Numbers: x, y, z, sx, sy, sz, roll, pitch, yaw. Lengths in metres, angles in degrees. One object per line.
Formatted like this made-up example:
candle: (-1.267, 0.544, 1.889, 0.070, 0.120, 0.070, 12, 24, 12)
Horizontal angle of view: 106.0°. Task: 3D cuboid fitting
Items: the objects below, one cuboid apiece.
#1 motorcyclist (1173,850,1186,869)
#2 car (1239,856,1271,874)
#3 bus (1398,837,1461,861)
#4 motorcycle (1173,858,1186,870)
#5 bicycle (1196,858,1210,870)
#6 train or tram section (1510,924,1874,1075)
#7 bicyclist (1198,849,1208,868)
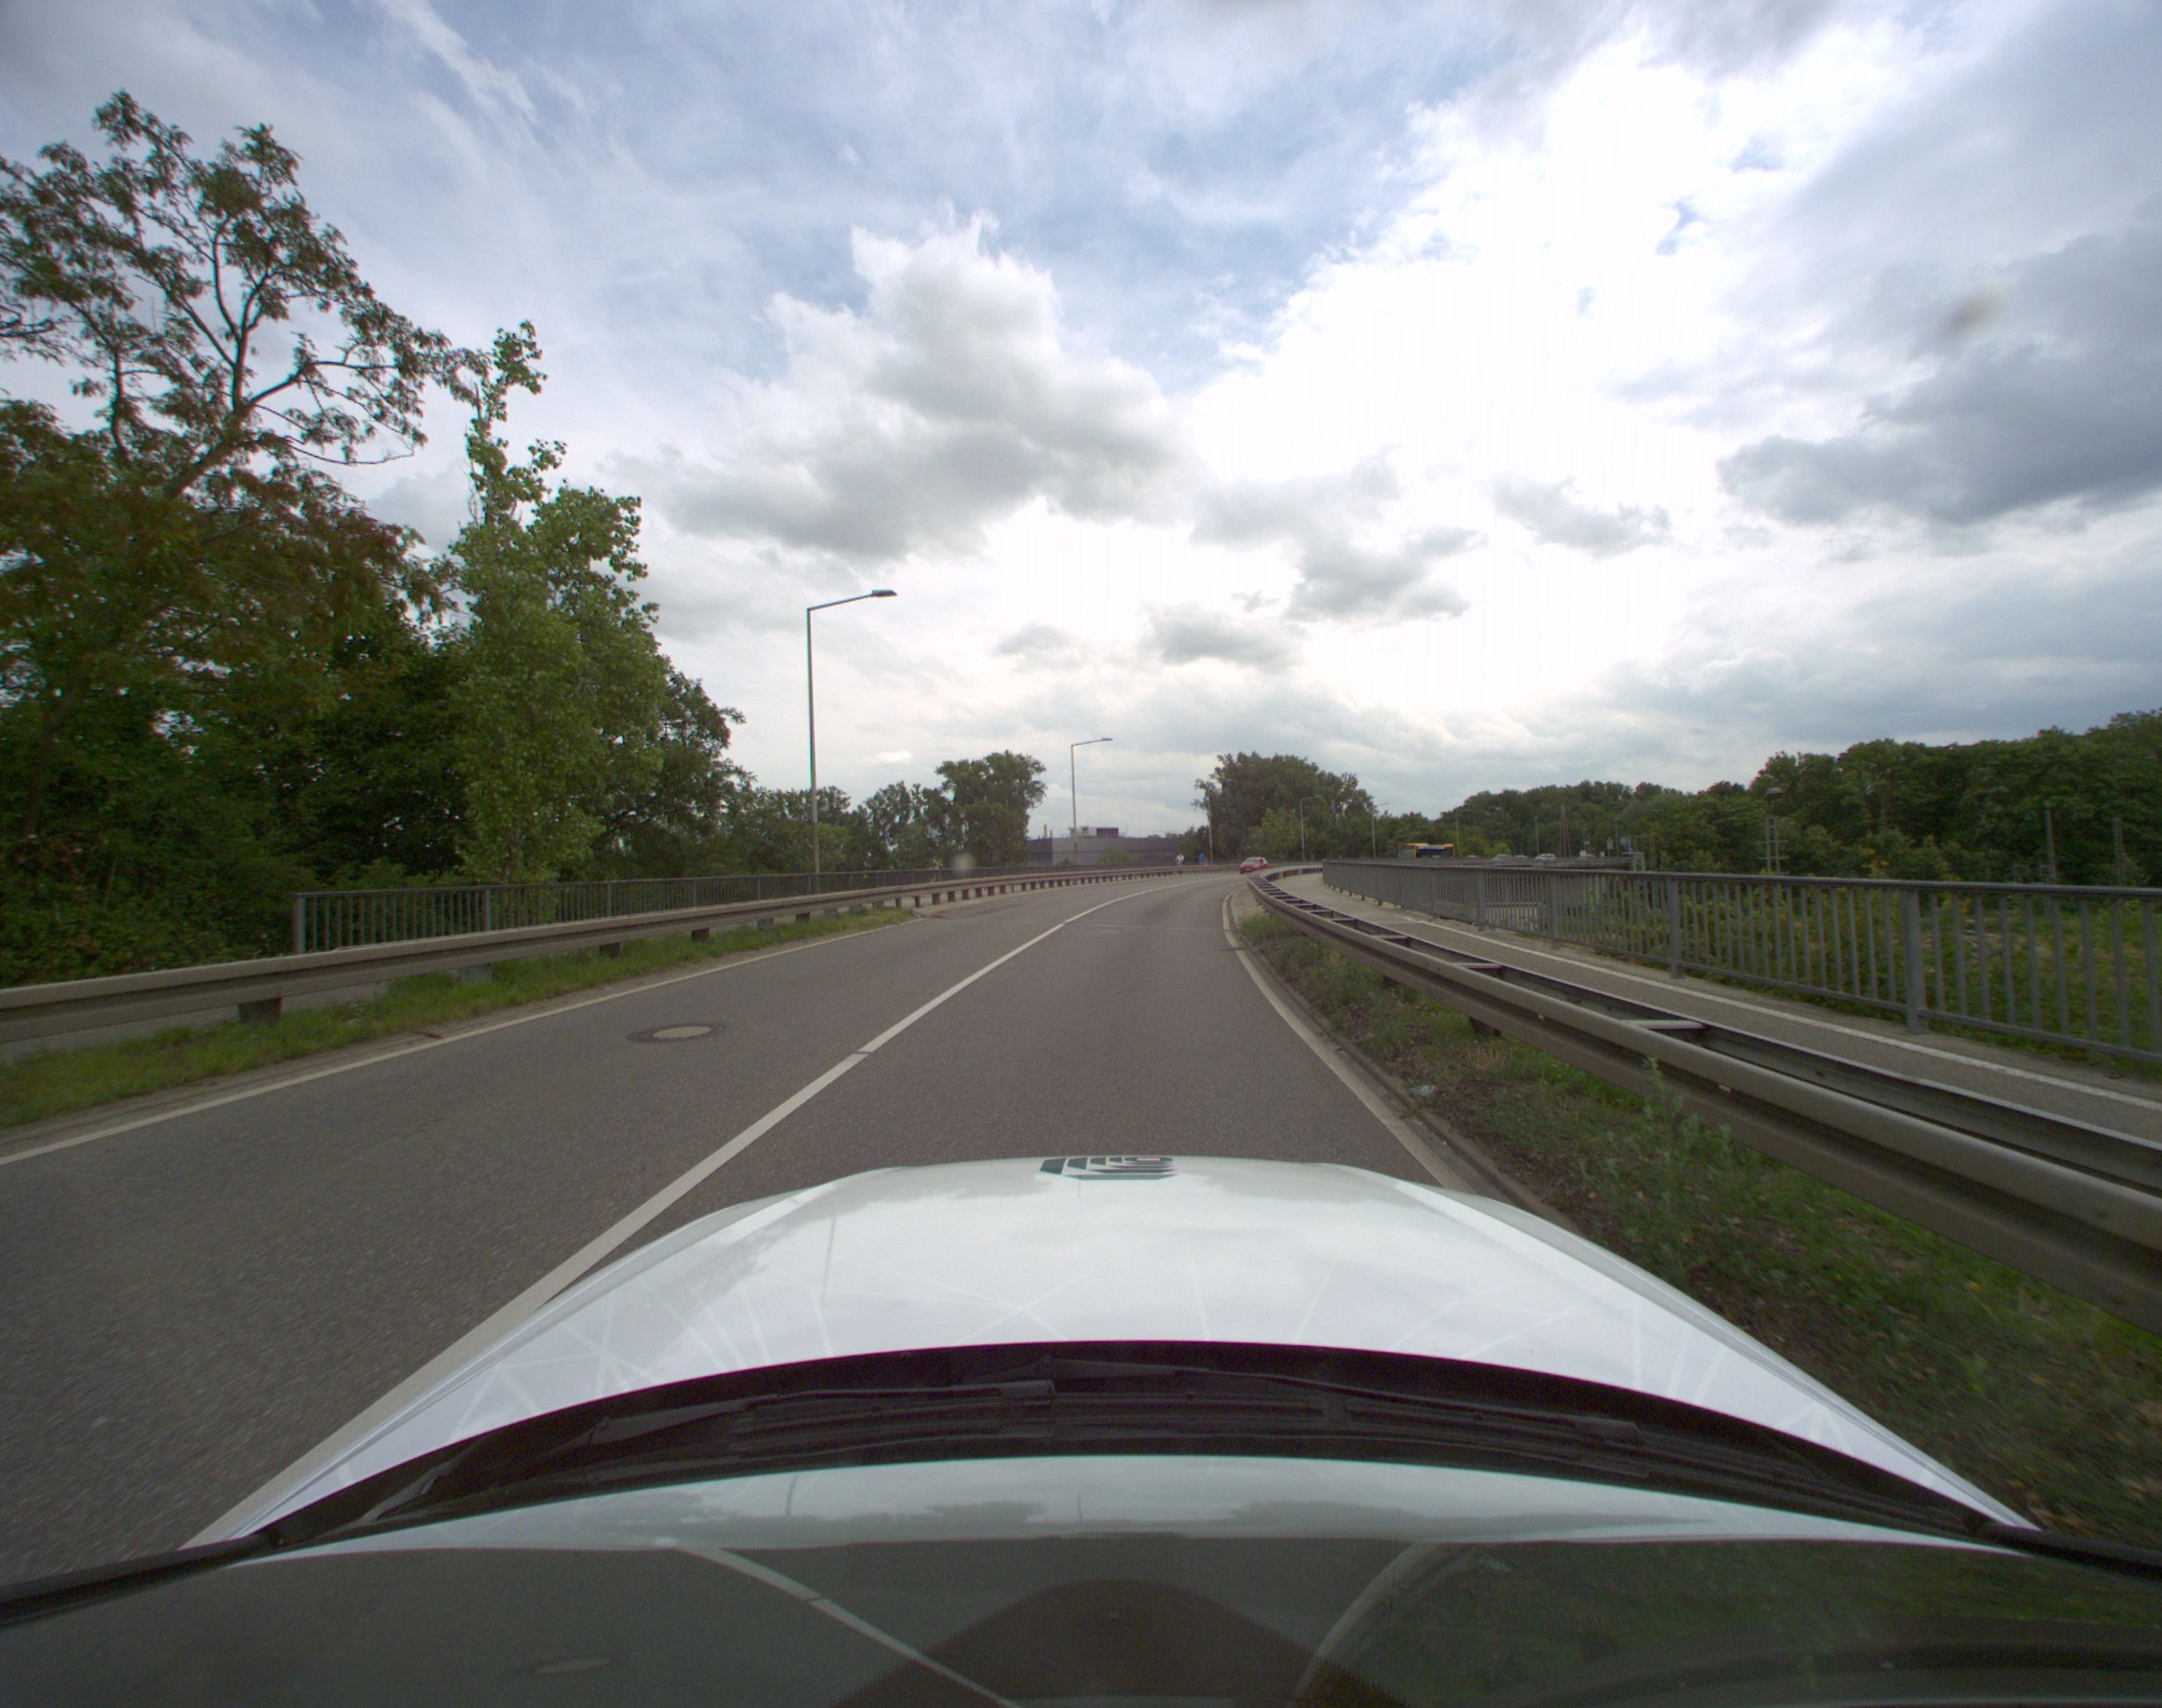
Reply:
motorcyclist: (8.112, 0.433, 67.046, 0.803, 1.529, 0.828, -1, -1, 20)
car: (15.003, 0.913, 70.013, 1.743, 1.492, 4.023, -1, -1, 26)
bus: (48.788, -0.689, 113.650, 13.022, 3.233, 3.005, 0, -1, -43)
motorcycle: (8.083, 0.851, 66.939, 0.620, 0.963, 1.849, -1, -1, 22)
bicycle: (10.447, 0.852, 69.645, 0.488, 1.045, 1.821, -1, -1, 32)
train or tram section: (28.571, 6.542, 39.378, 13.475, 5.574, 3.675, -1, -1, 33)
bicyclist: (10.439, 0.386, 69.700, 0.604, 1.540, 0.762, -1, -1, 36)
